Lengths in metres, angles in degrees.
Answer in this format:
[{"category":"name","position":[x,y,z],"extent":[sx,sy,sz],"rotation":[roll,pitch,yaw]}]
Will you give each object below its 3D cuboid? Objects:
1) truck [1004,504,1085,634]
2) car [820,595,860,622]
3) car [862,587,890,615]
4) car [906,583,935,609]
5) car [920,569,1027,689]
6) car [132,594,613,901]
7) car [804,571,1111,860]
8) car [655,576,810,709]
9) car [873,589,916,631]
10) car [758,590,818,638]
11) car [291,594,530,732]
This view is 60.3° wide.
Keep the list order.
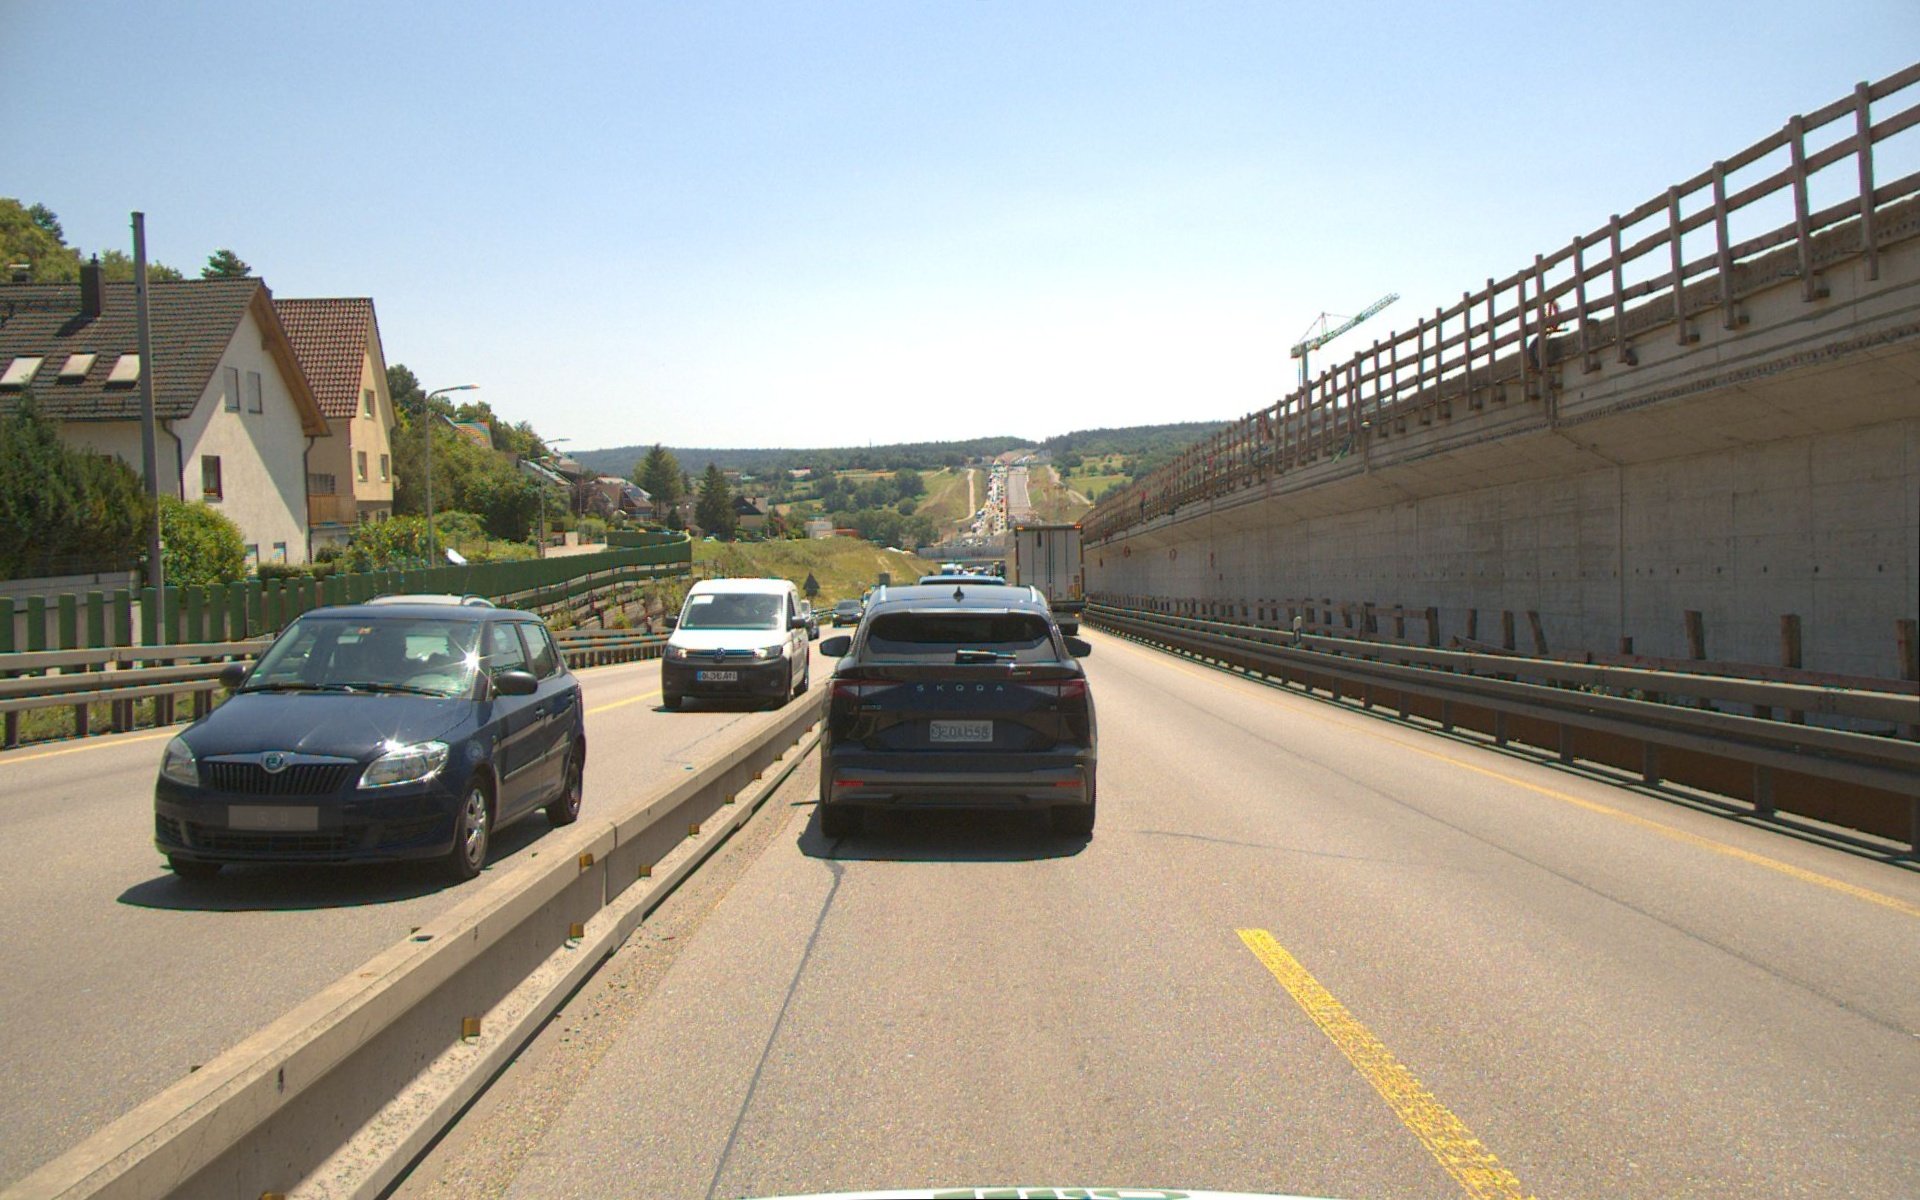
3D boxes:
[{"category":"truck","position":[3.266,-1.103,66.726],"extent":[2.787,4.696,11.812],"rotation":[-2,-1,1]},{"category":"car","position":[-6.778,0.488,93.685],"extent":[1.953,1.467,4.363],"rotation":[1,0,-1]},{"category":"car","position":[-6.165,0.070,120.842],"extent":[1.790,1.959,5.237],"rotation":[-1,0,-6]},{"category":"car","position":[-3.031,-0.278,129.270],"extent":[2.113,1.939,5.325],"rotation":[-1,0,0]},{"category":"car","position":[0.174,0.460,28.504],"extent":[1.714,1.928,3.754],"rotation":[0,0,-1]},{"category":"car","position":[-3.304,0.714,10.175],"extent":[1.539,1.487,4.212],"rotation":[0,0,-1]},{"category":"car","position":[-0.017,0.674,11.624],"extent":[1.746,1.625,3.755],"rotation":[-3,0,0]},{"category":"car","position":[-3.236,0.559,24.243],"extent":[1.772,1.771,4.256],"rotation":[0,0,-1]},{"category":"car","position":[-3.373,0.536,86.110],"extent":[1.953,2.049,4.969],"rotation":[-2,0,0]},{"category":"car","position":[-6.915,0.568,67.006],"extent":[1.953,1.859,4.508],"rotation":[1,0,-1]},{"category":"car","position":[-6.559,0.689,20.175],"extent":[1.667,1.505,3.973],"rotation":[0,0,-1]}]
